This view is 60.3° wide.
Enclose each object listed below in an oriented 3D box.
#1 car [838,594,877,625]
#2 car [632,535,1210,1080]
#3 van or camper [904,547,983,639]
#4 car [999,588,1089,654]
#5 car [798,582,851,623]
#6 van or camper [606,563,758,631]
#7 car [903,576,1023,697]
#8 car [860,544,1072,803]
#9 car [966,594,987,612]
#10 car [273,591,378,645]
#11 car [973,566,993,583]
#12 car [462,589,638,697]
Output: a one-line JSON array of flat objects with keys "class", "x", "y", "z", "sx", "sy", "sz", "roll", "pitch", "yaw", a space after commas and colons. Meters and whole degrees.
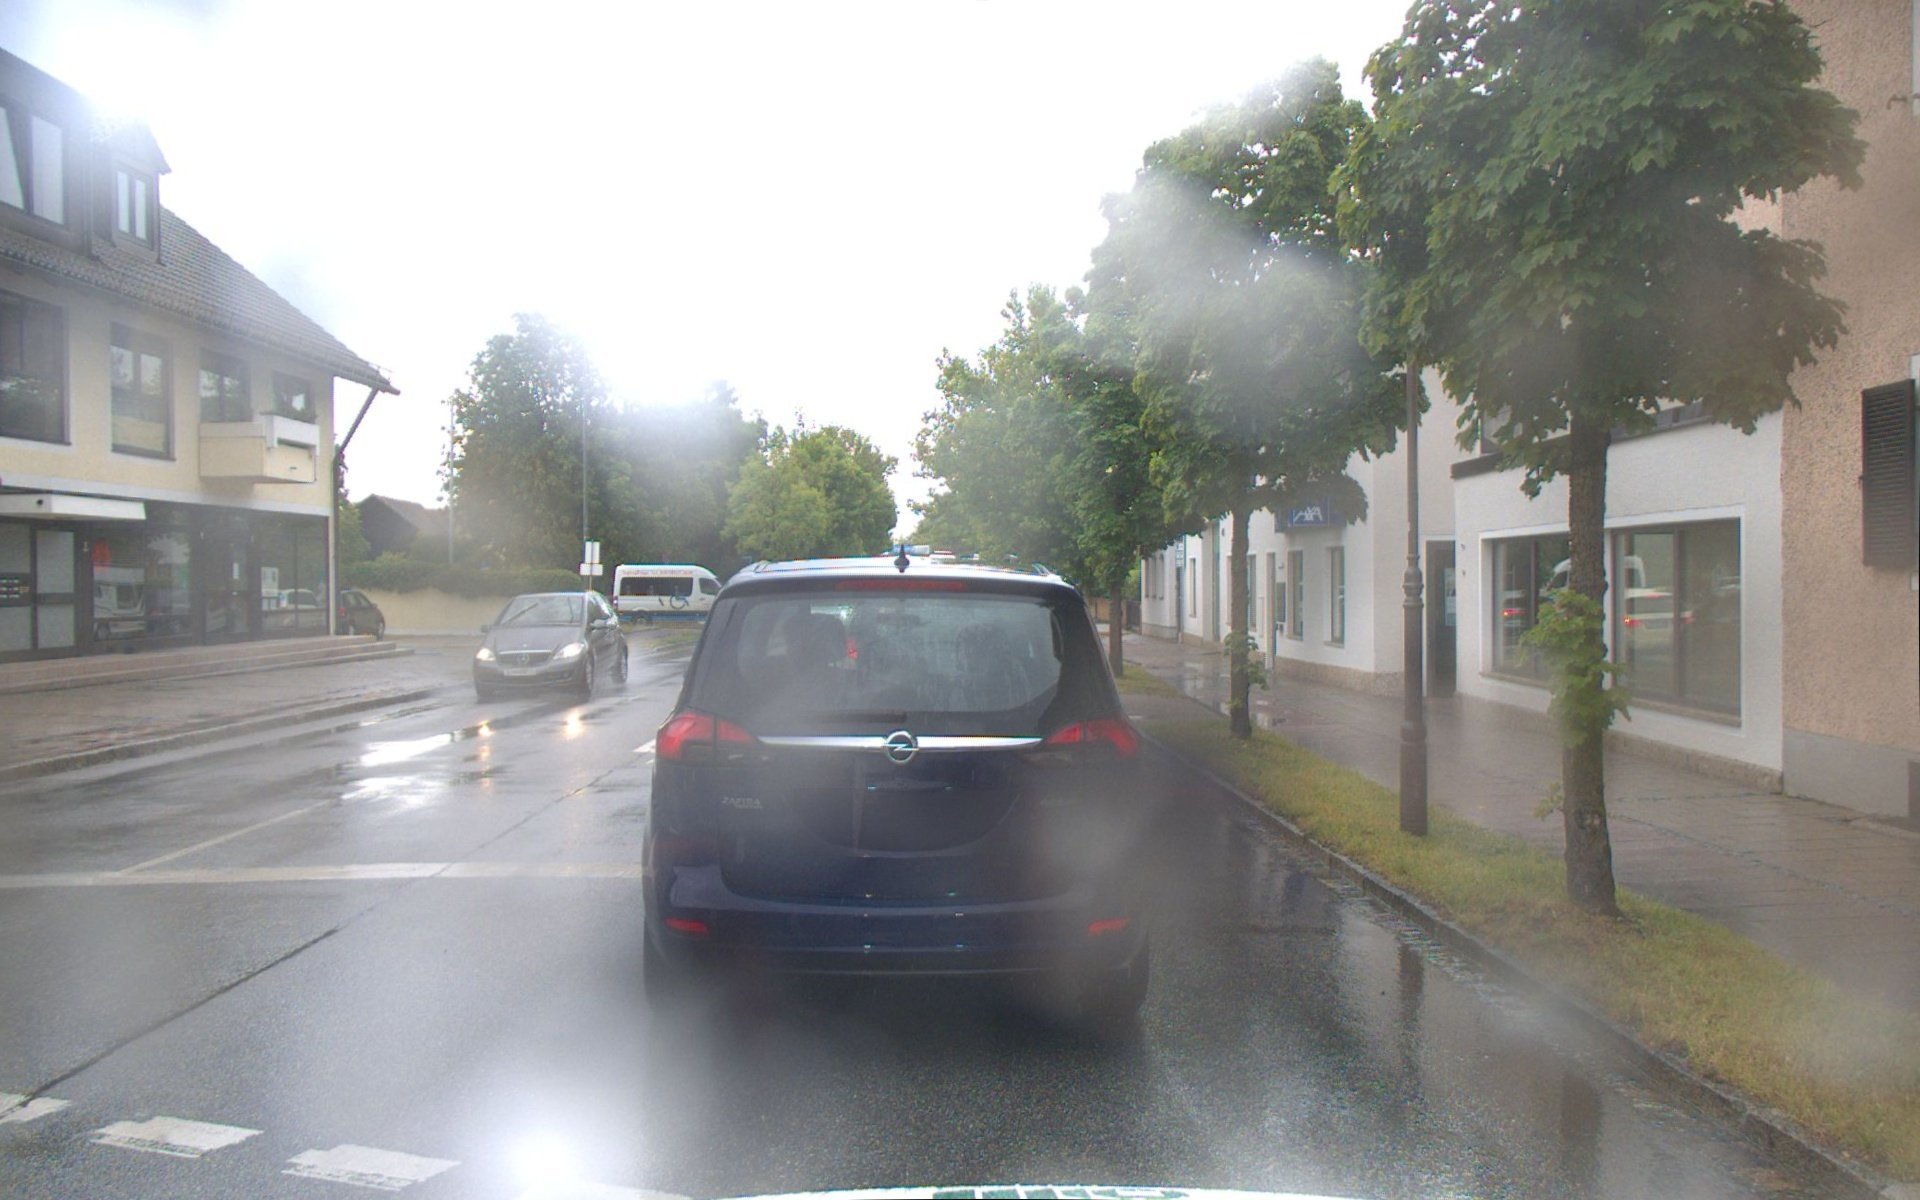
[{"class": "car", "x": -5.465, "y": 0.466, "z": 88.616, "sx": 1.887, "sy": 1.594, "sz": 4.125, "roll": -1, "pitch": 0, "yaw": -1}, {"class": "car", "x": -0.141, "y": 0.629, "z": 6.878, "sx": 1.733, "sy": 1.632, "sz": 3.662, "roll": 1, "pitch": 0, "yaw": -1}, {"class": "van or camper", "x": -0.521, "y": -0.214, "z": 51.697, "sx": 2.312, "sy": 2.712, "sz": 5.370, "roll": 0, "pitch": 0, "yaw": -1}, {"class": "car", "x": 2.176, "y": 0.528, "z": 43.852, "sx": 2.075, "sy": 1.609, "sz": 3.934, "roll": 1, "pitch": 0, "yaw": -2}, {"class": "car", "x": -5.635, "y": 0.100, "z": 69.150, "sx": 1.927, "sy": 1.590, "sz": 4.151, "roll": -1, "pitch": 0, "yaw": -1}, {"class": "van or camper", "x": -11.520, "y": -0.134, "z": 68.945, "sx": 6.129, "sy": 2.754, "sz": 2.098, "roll": 0, "pitch": 0, "yaw": -7}, {"class": "car", "x": 0.020, "y": 0.522, "z": 25.722, "sx": 1.720, "sy": 1.736, "sz": 3.618, "roll": 0, "pitch": 0, "yaw": -1}, {"class": "car", "x": 0.024, "y": 0.518, "z": 13.287, "sx": 1.470, "sy": 1.807, "sz": 3.111, "roll": 1, "pitch": 0, "yaw": -1}, {"class": "car", "x": 1.302, "y": 0.254, "z": 132.695, "sx": 1.597, "sy": 1.402, "sz": 3.622, "roll": 1, "pitch": 0, "yaw": -1}, {"class": "car", "x": -17.646, "y": 0.485, "z": 46.133, "sx": 1.574, "sy": 1.404, "sz": 3.508, "roll": -1, "pitch": 0, "yaw": 0}, {"class": "car", "x": 1.967, "y": -2.210, "z": 142.097, "sx": 1.597, "sy": 1.402, "sz": 3.622, "roll": -1, "pitch": 0, "yaw": -1}, {"class": "car", "x": -6.464, "y": 0.631, "z": 26.485, "sx": 1.877, "sy": 1.560, "sz": 3.898, "roll": -1, "pitch": 0, "yaw": -1}]
